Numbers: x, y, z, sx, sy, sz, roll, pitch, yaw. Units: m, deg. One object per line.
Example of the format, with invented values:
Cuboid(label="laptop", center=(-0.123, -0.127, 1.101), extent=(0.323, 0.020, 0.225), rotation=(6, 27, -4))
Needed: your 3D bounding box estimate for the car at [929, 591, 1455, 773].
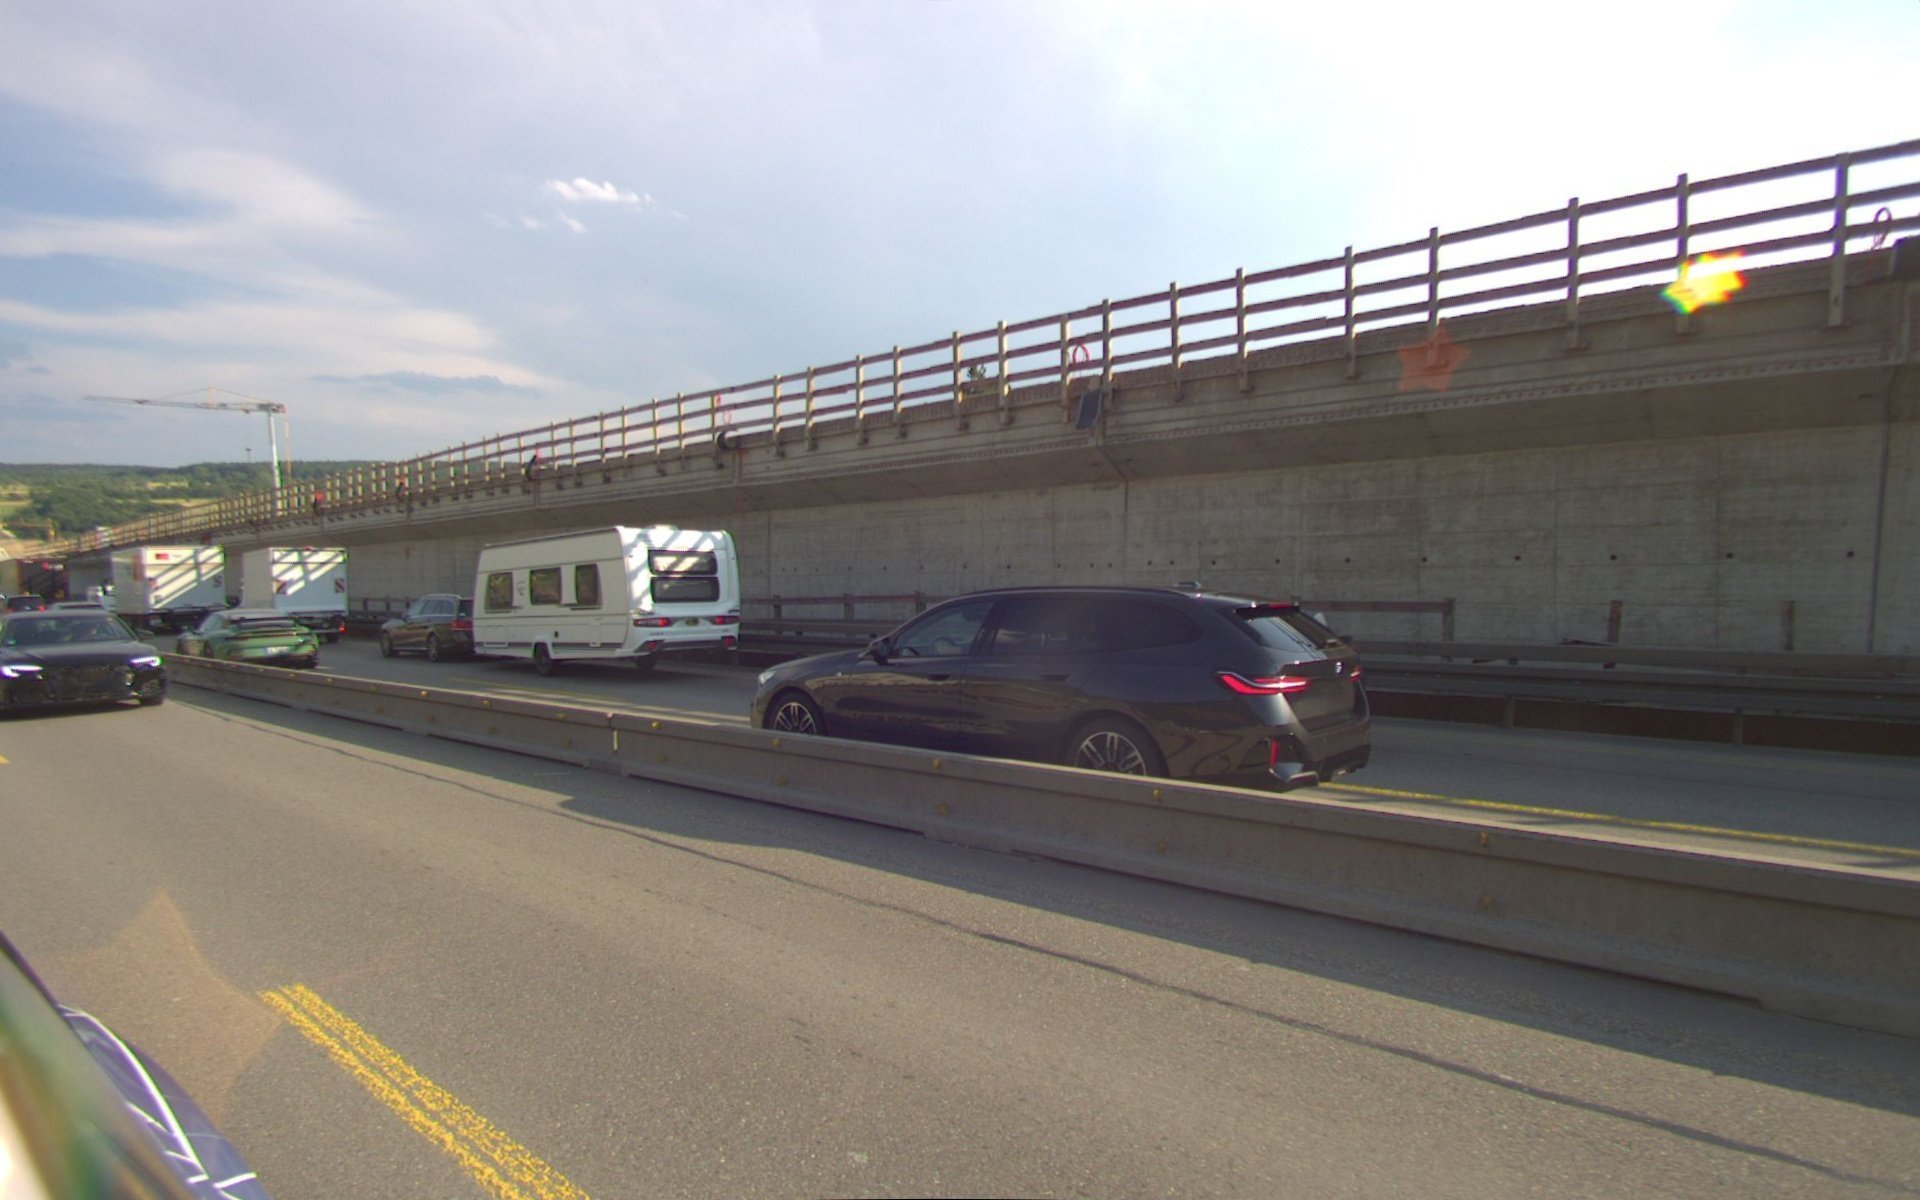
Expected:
Cuboid(label="car", center=(2.136, 0.662, 10.305), extent=(4.897, 1.432, 1.952), rotation=(0, 0, 41))

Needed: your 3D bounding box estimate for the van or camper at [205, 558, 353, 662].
Cuboid(label="van or camper", center=(-21.637, 0.221, 32.041), extent=(6.220, 3.011, 2.296), rotation=(1, 2, 41))

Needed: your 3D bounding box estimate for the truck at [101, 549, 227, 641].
Cuboid(label="truck", center=(-33.017, -0.233, 41.843), extent=(8.138, 3.450, 2.686), rotation=(1, 1, 41))

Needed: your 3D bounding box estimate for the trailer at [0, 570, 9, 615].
Cuboid(label="trailer", center=(-91.806, -0.621, 95.234), extent=(5.975, 4.171, 2.736), rotation=(-1, 3, 42))

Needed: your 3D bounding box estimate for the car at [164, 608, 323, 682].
Cuboid(label="car", center=(-15.094, 0.873, 21.241), extent=(4.237, 1.335, 1.763), rotation=(0, 1, 41))

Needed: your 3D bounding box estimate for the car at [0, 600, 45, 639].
Cuboid(label="car", center=(-45.965, 0.913, 49.069), extent=(4.688, 1.657, 1.813), rotation=(1, 4, 42))

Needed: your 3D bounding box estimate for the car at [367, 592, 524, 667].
Cuboid(label="car", center=(-12.005, 0.616, 23.472), extent=(4.782, 1.542, 1.623), rotation=(0, 1, 42))

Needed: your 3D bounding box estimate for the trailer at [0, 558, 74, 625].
Cuboid(label="trailer", center=(-65.376, -0.666, 71.236), extent=(13.769, 4.271, 2.882), rotation=(1, 4, 43))

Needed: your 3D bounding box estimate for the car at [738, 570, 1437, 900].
Cuboid(label="car", center=(0.634, 0.644, 7.393), extent=(4.866, 1.605, 1.819), rotation=(1, 4, 41))

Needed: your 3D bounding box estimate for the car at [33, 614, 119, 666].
Cuboid(label="car", center=(-32.317, 1.404, 36.944), extent=(4.556, 1.607, 1.723), rotation=(1, 4, 41))

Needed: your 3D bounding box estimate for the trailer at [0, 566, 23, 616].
Cuboid(label="trailer", center=(-86.841, -0.655, 90.730), extent=(14.022, 4.171, 2.736), rotation=(-1, 3, 42))

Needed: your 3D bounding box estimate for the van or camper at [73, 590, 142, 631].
Cuboid(label="van or camper", center=(-43.969, 0.532, 52.189), extent=(4.920, 1.936, 1.898), rotation=(0, 3, 41))

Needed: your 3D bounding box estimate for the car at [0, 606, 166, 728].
Cuboid(label="car", center=(-13.456, 0.875, 15.061), extent=(4.348, 1.429, 1.848), rotation=(1, 3, 42))

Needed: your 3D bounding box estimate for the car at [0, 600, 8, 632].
Cuboid(label="car", center=(-60.667, 1.045, 62.625), extent=(5.289, 1.936, 1.965), rotation=(0, 4, 42))

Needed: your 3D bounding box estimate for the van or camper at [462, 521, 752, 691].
Cuboid(label="van or camper", center=(-6.801, 0.089, 18.963), extent=(6.453, 2.683, 2.287), rotation=(0, 1, 42))
